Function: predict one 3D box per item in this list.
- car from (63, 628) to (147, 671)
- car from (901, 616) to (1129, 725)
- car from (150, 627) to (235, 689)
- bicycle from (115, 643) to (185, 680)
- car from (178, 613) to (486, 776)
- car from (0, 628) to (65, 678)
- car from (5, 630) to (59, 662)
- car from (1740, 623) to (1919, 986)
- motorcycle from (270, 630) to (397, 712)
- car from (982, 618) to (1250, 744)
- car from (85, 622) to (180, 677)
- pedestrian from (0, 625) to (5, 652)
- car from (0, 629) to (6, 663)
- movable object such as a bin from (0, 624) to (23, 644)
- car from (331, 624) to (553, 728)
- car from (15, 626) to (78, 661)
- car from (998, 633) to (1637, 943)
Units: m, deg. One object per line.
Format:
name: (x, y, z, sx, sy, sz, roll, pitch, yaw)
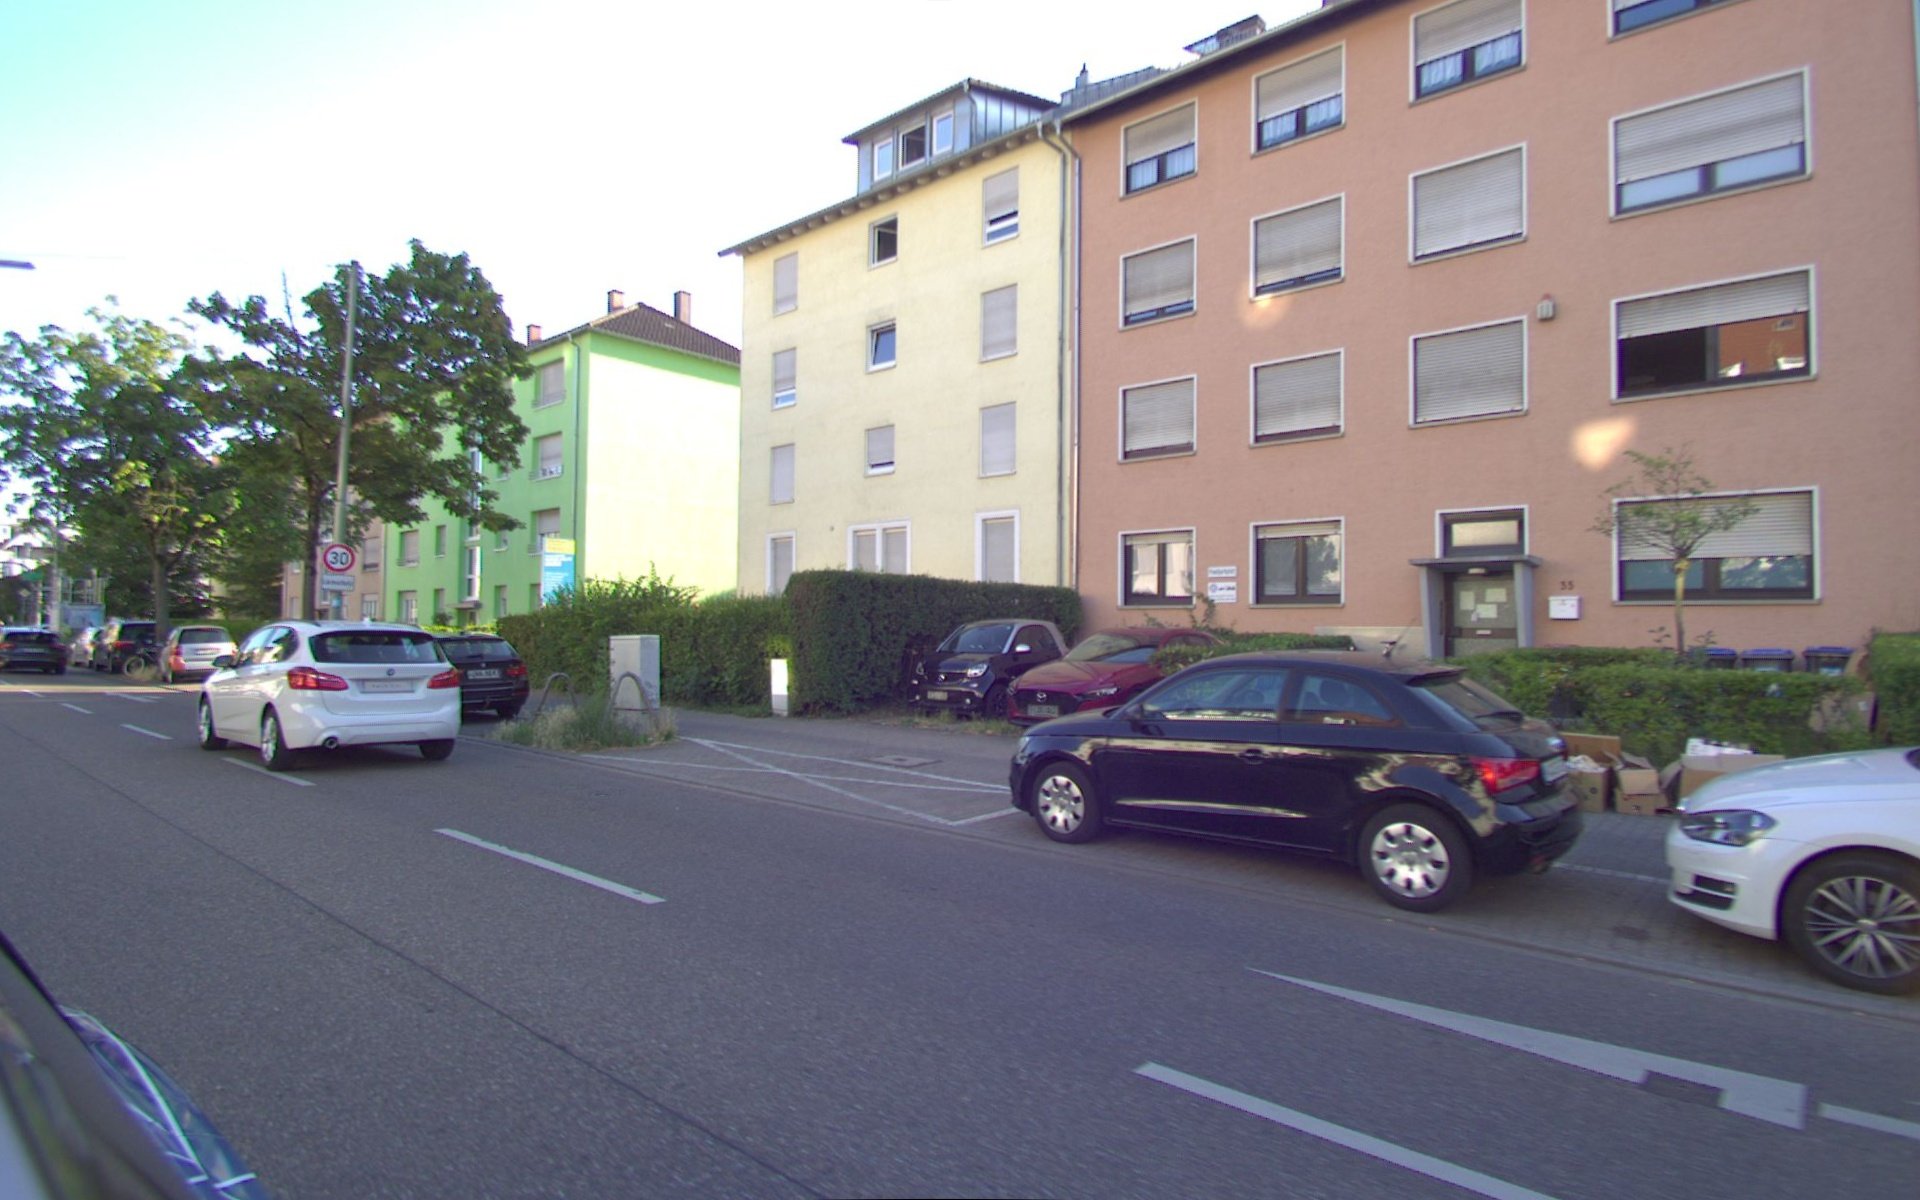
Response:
car: (-31.734, 1.797, 37.519, 4.187, 1.533, 1.665, -1, -2, 40)
car: (1.001, 1.046, 16.498, 1.628, 1.540, 3.945, -2, -2, 41)
car: (-21.495, 1.585, 28.321, 2.862, 1.629, 1.482, -2, -2, 45)
bicycle: (-25.456, 1.913, 31.805, 0.560, 1.097, 1.656, -2, -1, 43)
car: (-7.428, 1.014, 11.812, 4.265, 1.555, 1.860, -2, -4, 41)
car: (-29.869, 1.647, 32.196, 4.295, 1.482, 1.681, -2, -4, 44)
car: (-46.400, 2.278, 50.561, 3.943, 1.490, 1.635, -1, -3, 43)
car: (5.733, 0.862, 4.020, 4.057, 1.503, 1.689, -2, 0, 42)
motorcycle: (-11.918, 1.317, 19.342, 0.980, 1.399, 2.022, 0, 0, 9)
car: (2.314, 1.021, 14.297, 1.915, 1.423, 3.945, -2, -1, 41)
car: (-27.890, 1.630, 34.065, 4.616, 1.746, 1.764, -1, -3, 42)
pedestrian: (-71.809, 2.873, 75.534, 0.814, 2.029, 0.637, 0, -1, 42)
car: (-42.140, 1.919, 43.172, 4.026, 1.414, 1.682, -1, -4, 41)
movable object such as a bin: (-82.169, 2.946, 87.695, 1.180, 1.670, 1.292, 0, 2, 41)
car: (-8.789, 1.172, 16.996, 4.586, 1.516, 1.760, -1, -2, 41)
car: (-42.840, 2.027, 47.441, 3.781, 1.564, 1.621, -1, -2, 39)
car: (2.228, 0.998, 6.955, 3.813, 1.484, 1.594, -2, -1, 43)
